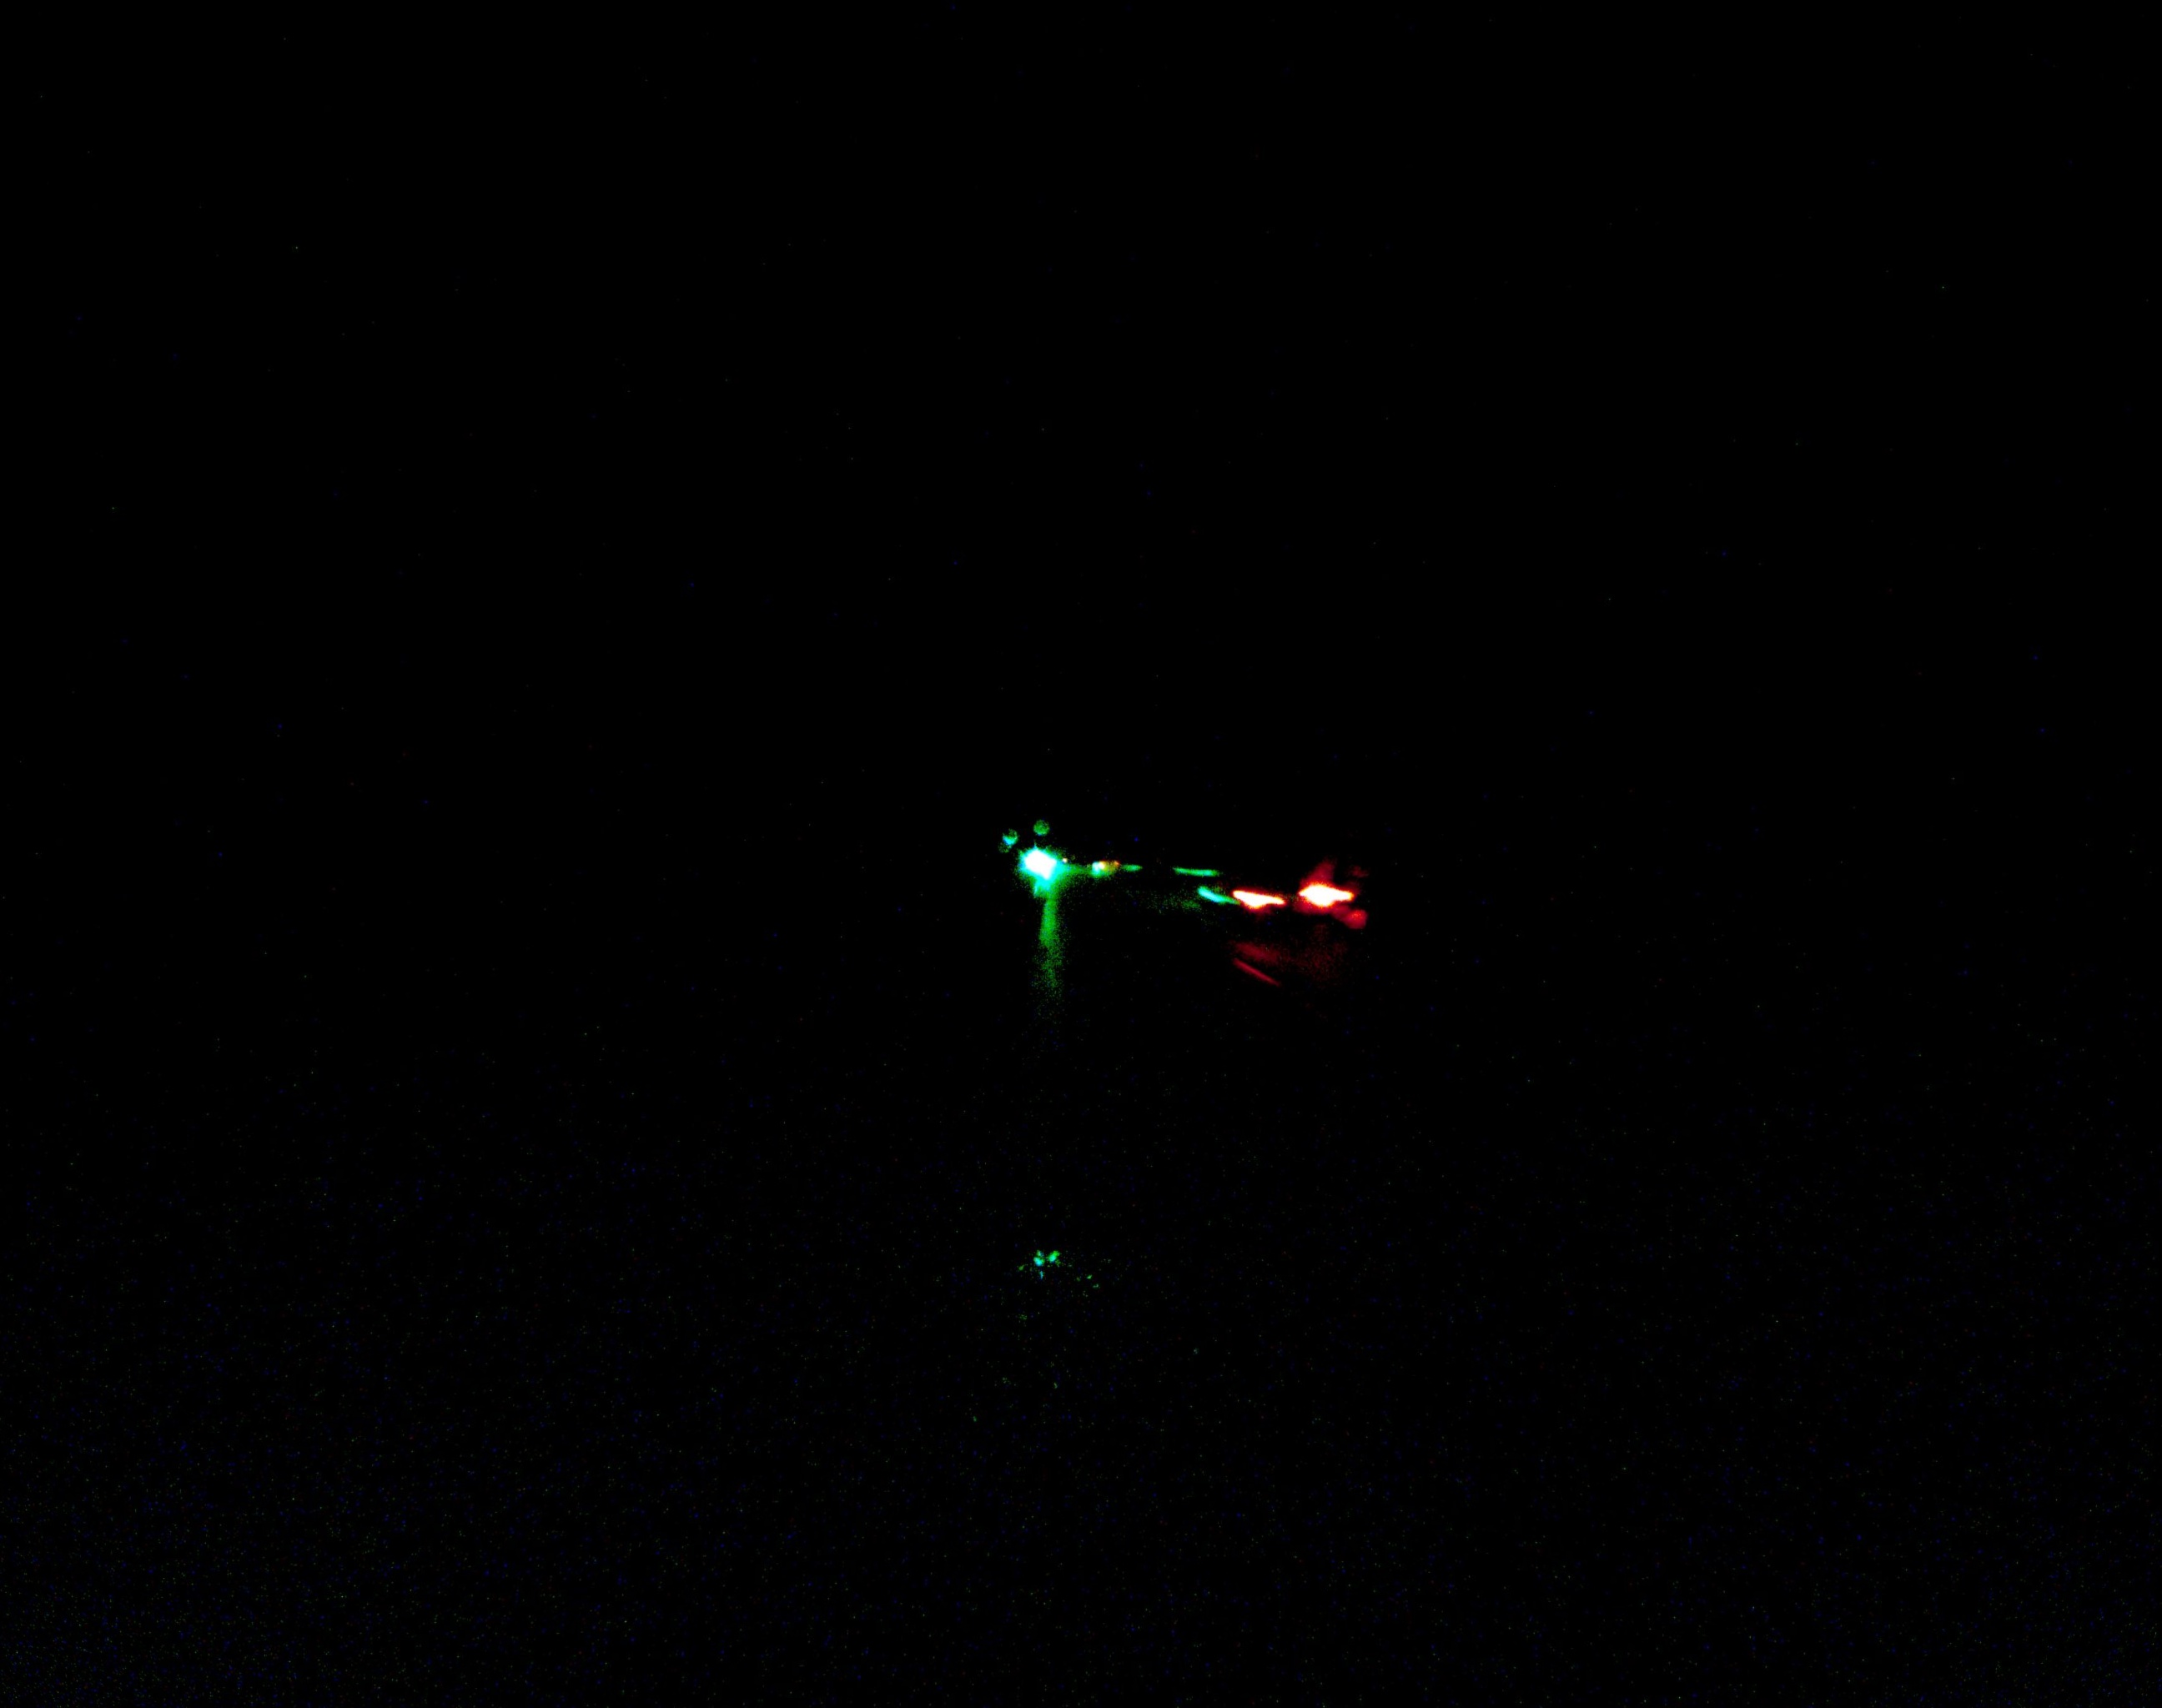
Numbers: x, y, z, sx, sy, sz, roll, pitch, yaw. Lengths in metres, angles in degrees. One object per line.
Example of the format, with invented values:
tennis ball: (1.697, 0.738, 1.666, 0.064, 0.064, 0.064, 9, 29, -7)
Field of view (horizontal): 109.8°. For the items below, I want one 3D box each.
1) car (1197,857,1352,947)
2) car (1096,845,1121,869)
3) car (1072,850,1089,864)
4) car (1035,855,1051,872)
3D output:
car: (3.586, 0.817, 14.855, 1.998, 1.403, 3.999, -1, 1, 0)
car: (2.268, 0.222, 63.718, 1.784, 1.833, 4.160, -1, 1, -1)
car: (-0.103, 0.344, 106.838, 1.999, 1.839, 4.903, -2, 1, -4)
car: (-4.441, 1.090, 88.121, 1.798, 1.839, 3.642, -1, 0, -3)
